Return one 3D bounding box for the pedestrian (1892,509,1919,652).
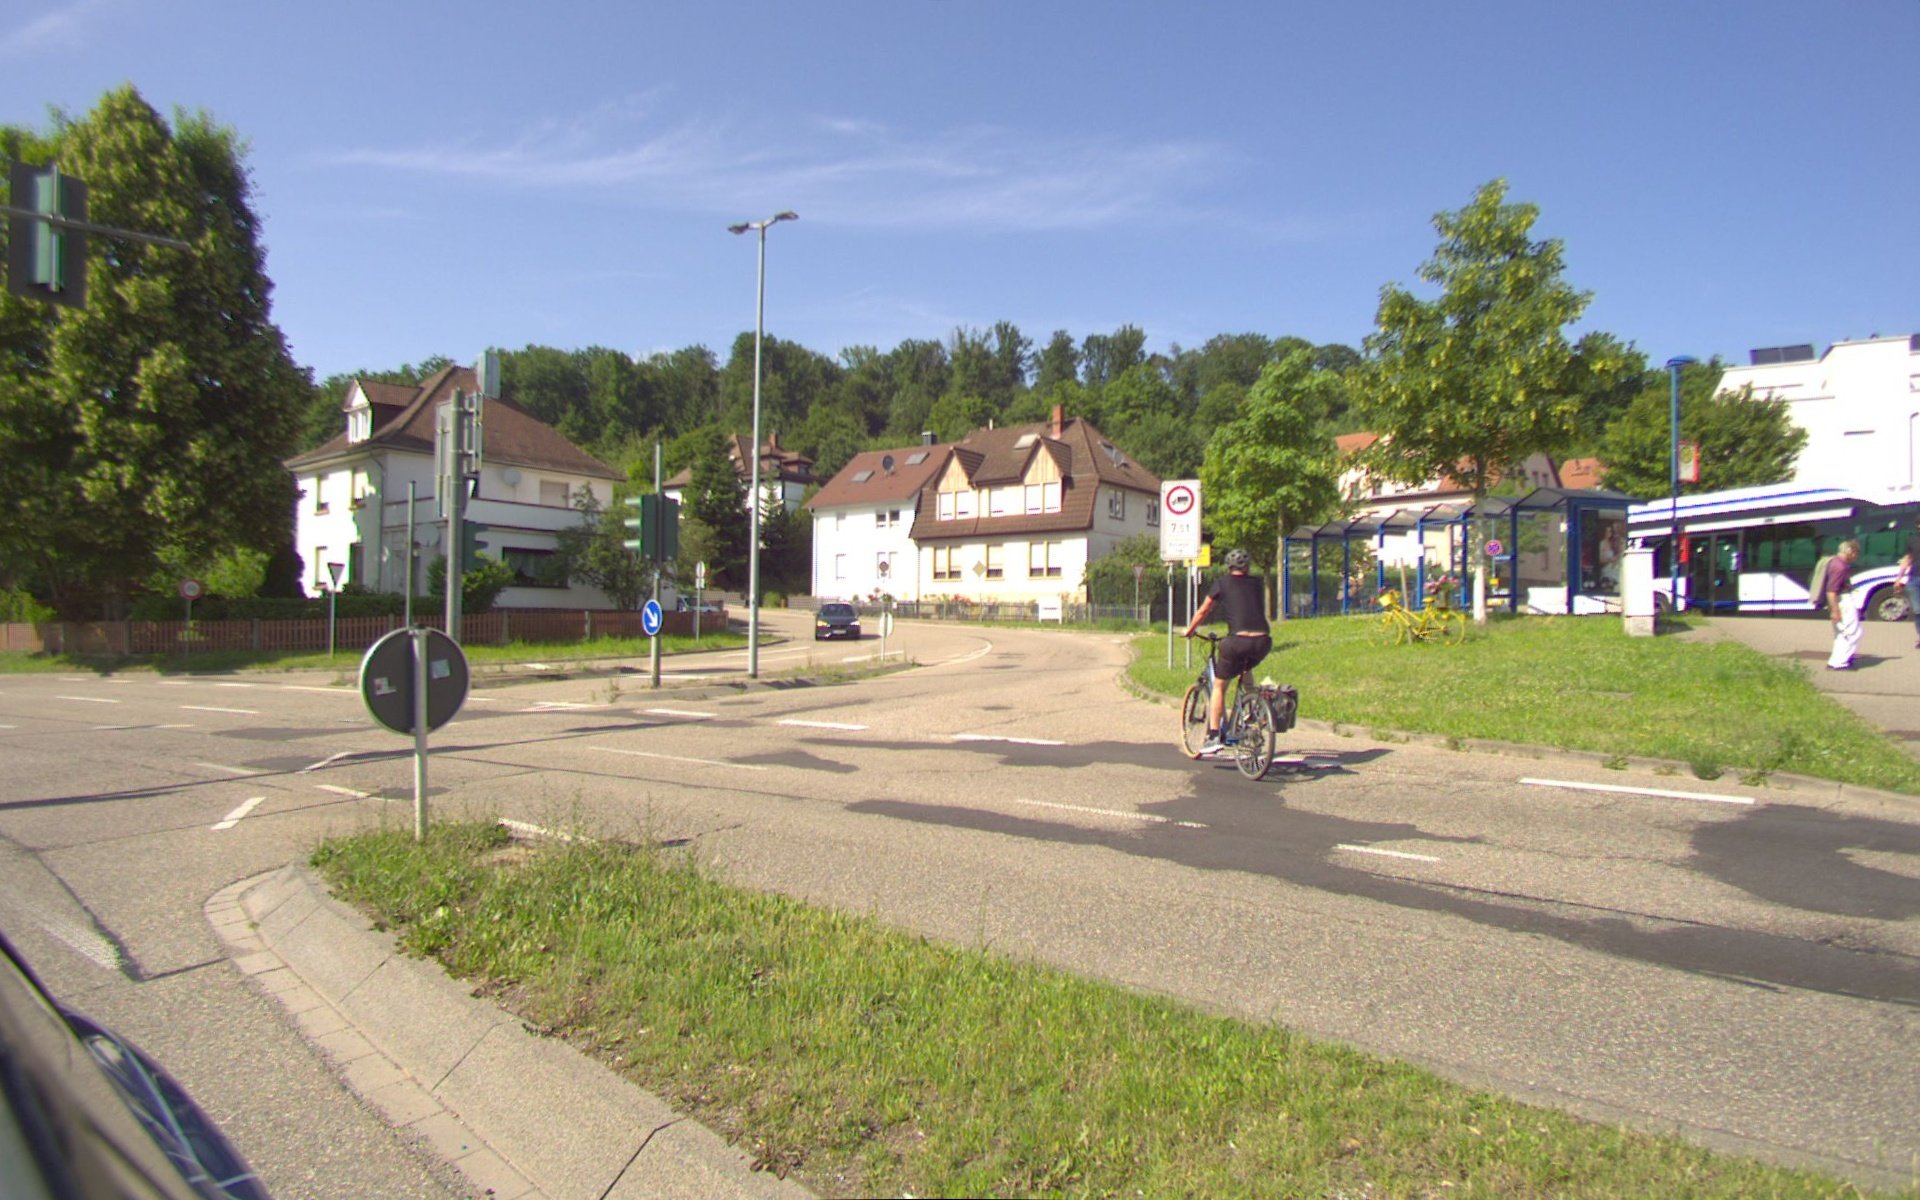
[{"bbox_3d":[13.365,-0.287,13.824,0.856,1.922,0.731,-2,2,40],"label":"pedestrian"}]

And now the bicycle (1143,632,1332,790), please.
[{"bbox_3d":[2.371,0.899,8.960,0.723,1.171,2.004,-3,0,-12],"label":"bicycle"}]

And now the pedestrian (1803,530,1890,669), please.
[{"bbox_3d":[11.219,-0.004,12.827,0.740,1.690,0.703,-3,-1,41],"label":"pedestrian"}]

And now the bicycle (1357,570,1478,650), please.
[{"bbox_3d":[8.052,0.190,17.877,0.611,1.265,1.758,-6,0,-43],"label":"bicycle"}]

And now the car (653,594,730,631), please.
[{"bbox_3d":[-13.260,0.645,49.872,1.911,1.649,4.003,-2,-1,-43],"label":"car"}]

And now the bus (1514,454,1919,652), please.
[{"bbox_3d":[18.671,-0.883,23.279,2.822,3.742,12.249,-3,0,-13],"label":"bus"}]

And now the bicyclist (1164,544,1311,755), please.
[{"bbox_3d":[2.394,0.407,8.845,0.794,1.704,0.995,-3,-1,-12],"label":"bicyclist"}]

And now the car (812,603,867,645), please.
[{"bbox_3d":[-4.868,0.938,40.535,1.968,1.519,4.008,-3,0,-9],"label":"car"}]
